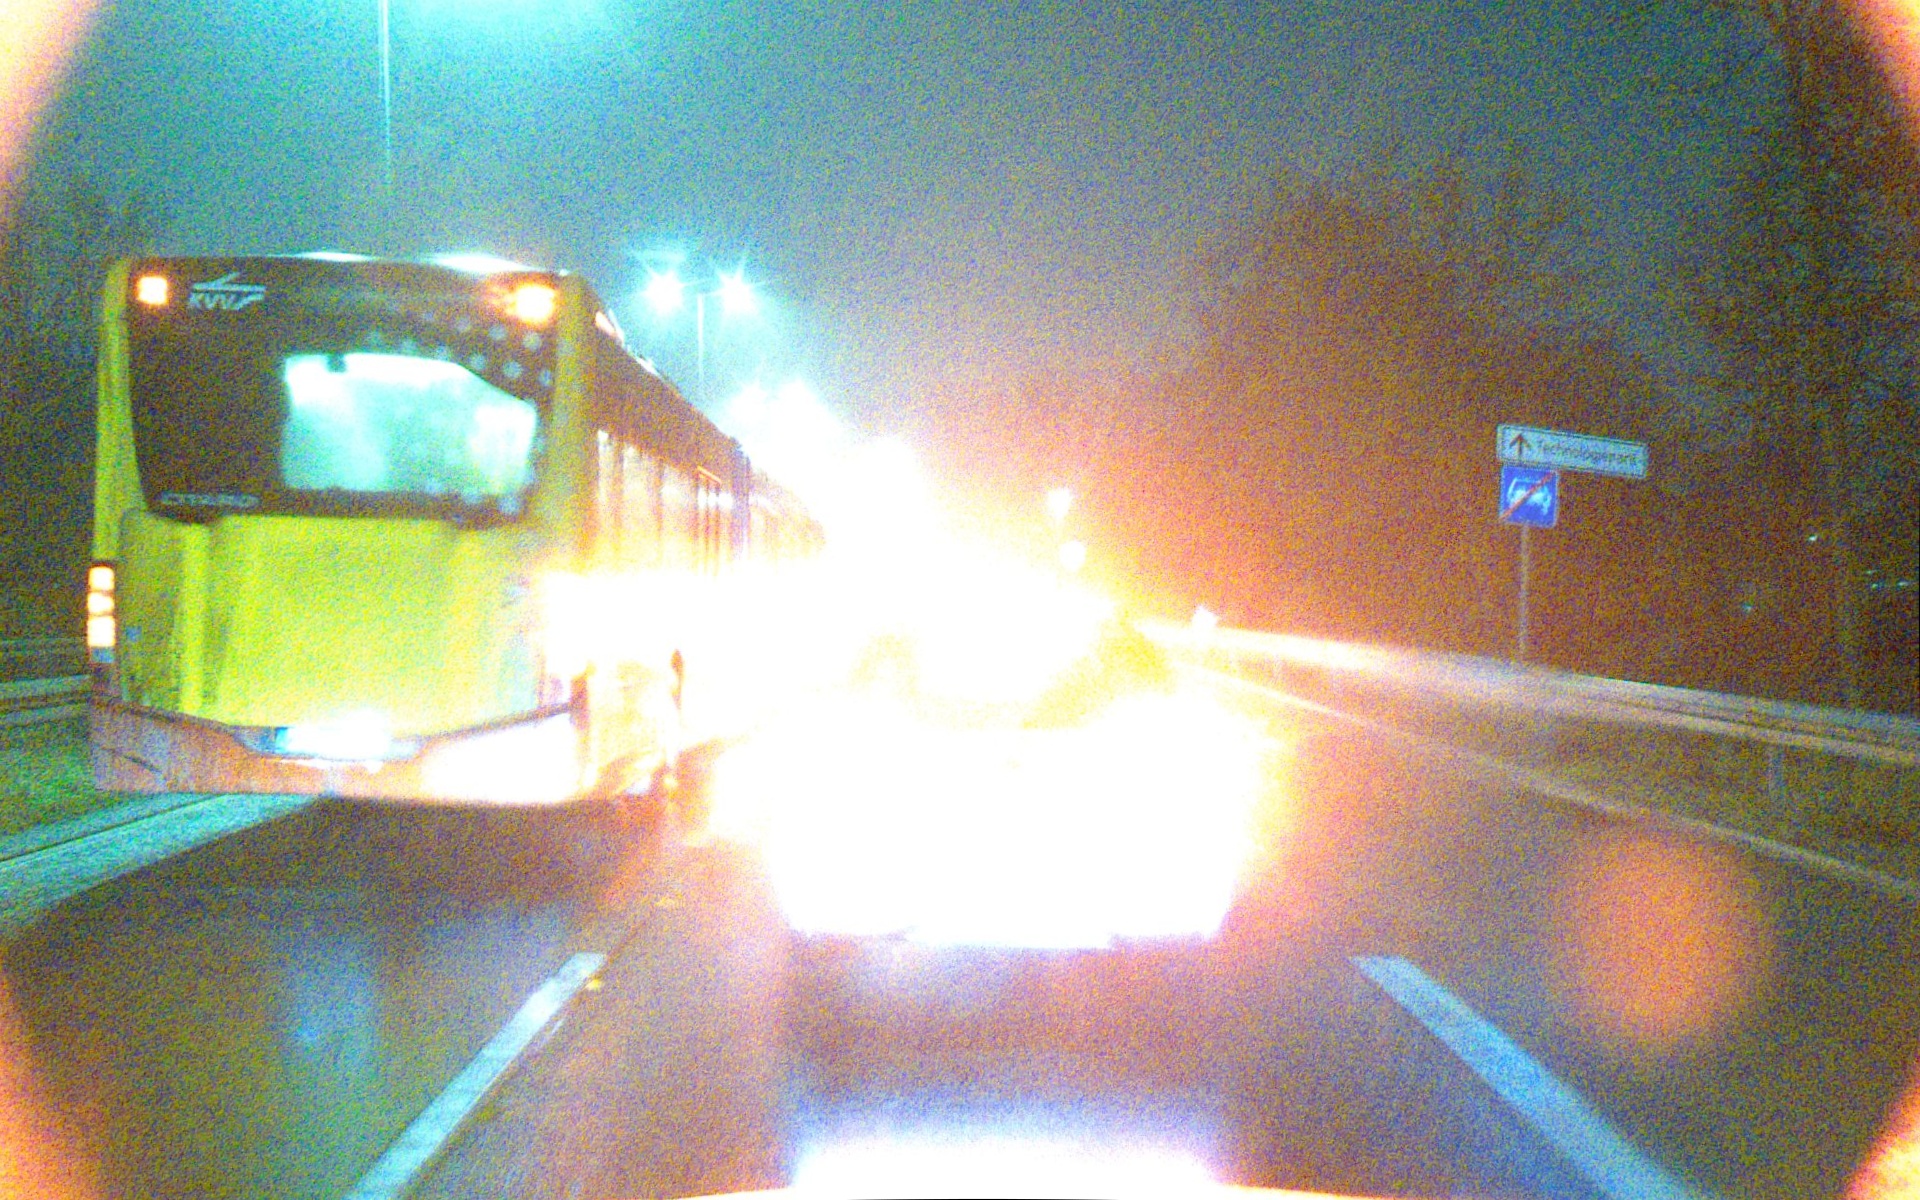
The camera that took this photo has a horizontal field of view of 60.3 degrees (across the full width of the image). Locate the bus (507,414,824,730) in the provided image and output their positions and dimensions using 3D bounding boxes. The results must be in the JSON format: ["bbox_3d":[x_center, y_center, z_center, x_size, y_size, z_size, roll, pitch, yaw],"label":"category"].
[{"bbox_3d":[-3.403,-0.332,21.468,2.688,3.178,8.701,2,1,-2],"label":"bus"}]

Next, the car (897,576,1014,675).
[{"bbox_3d":[-0.095,0.395,27.207,1.785,1.487,3.715,1,0,-1],"label":"car"}]

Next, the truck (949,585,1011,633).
[{"bbox_3d":[1.220,0.549,94.627,3.005,2.573,7.170,2,-1,4],"label":"truck"}]

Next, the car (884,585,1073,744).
[{"bbox_3d":[0.154,0.616,17.570,1.785,1.487,3.715,1,0,-1],"label":"car"}]

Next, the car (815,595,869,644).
[{"bbox_3d":[-3.850,0.642,54.527,1.526,1.513,3.808,2,-1,-1],"label":"car"}]

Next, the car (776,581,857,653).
[{"bbox_3d":[-3.218,0.402,37.727,1.526,1.513,3.808,2,-1,-1],"label":"car"}]

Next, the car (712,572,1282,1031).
[{"bbox_3d":[0.172,0.679,7.431,1.904,1.517,3.716,1,0,1],"label":"car"}]

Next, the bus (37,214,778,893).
[{"bbox_3d":[-3.154,-0.261,12.561,2.688,3.178,9.198,2,1,-2],"label":"bus"}]
